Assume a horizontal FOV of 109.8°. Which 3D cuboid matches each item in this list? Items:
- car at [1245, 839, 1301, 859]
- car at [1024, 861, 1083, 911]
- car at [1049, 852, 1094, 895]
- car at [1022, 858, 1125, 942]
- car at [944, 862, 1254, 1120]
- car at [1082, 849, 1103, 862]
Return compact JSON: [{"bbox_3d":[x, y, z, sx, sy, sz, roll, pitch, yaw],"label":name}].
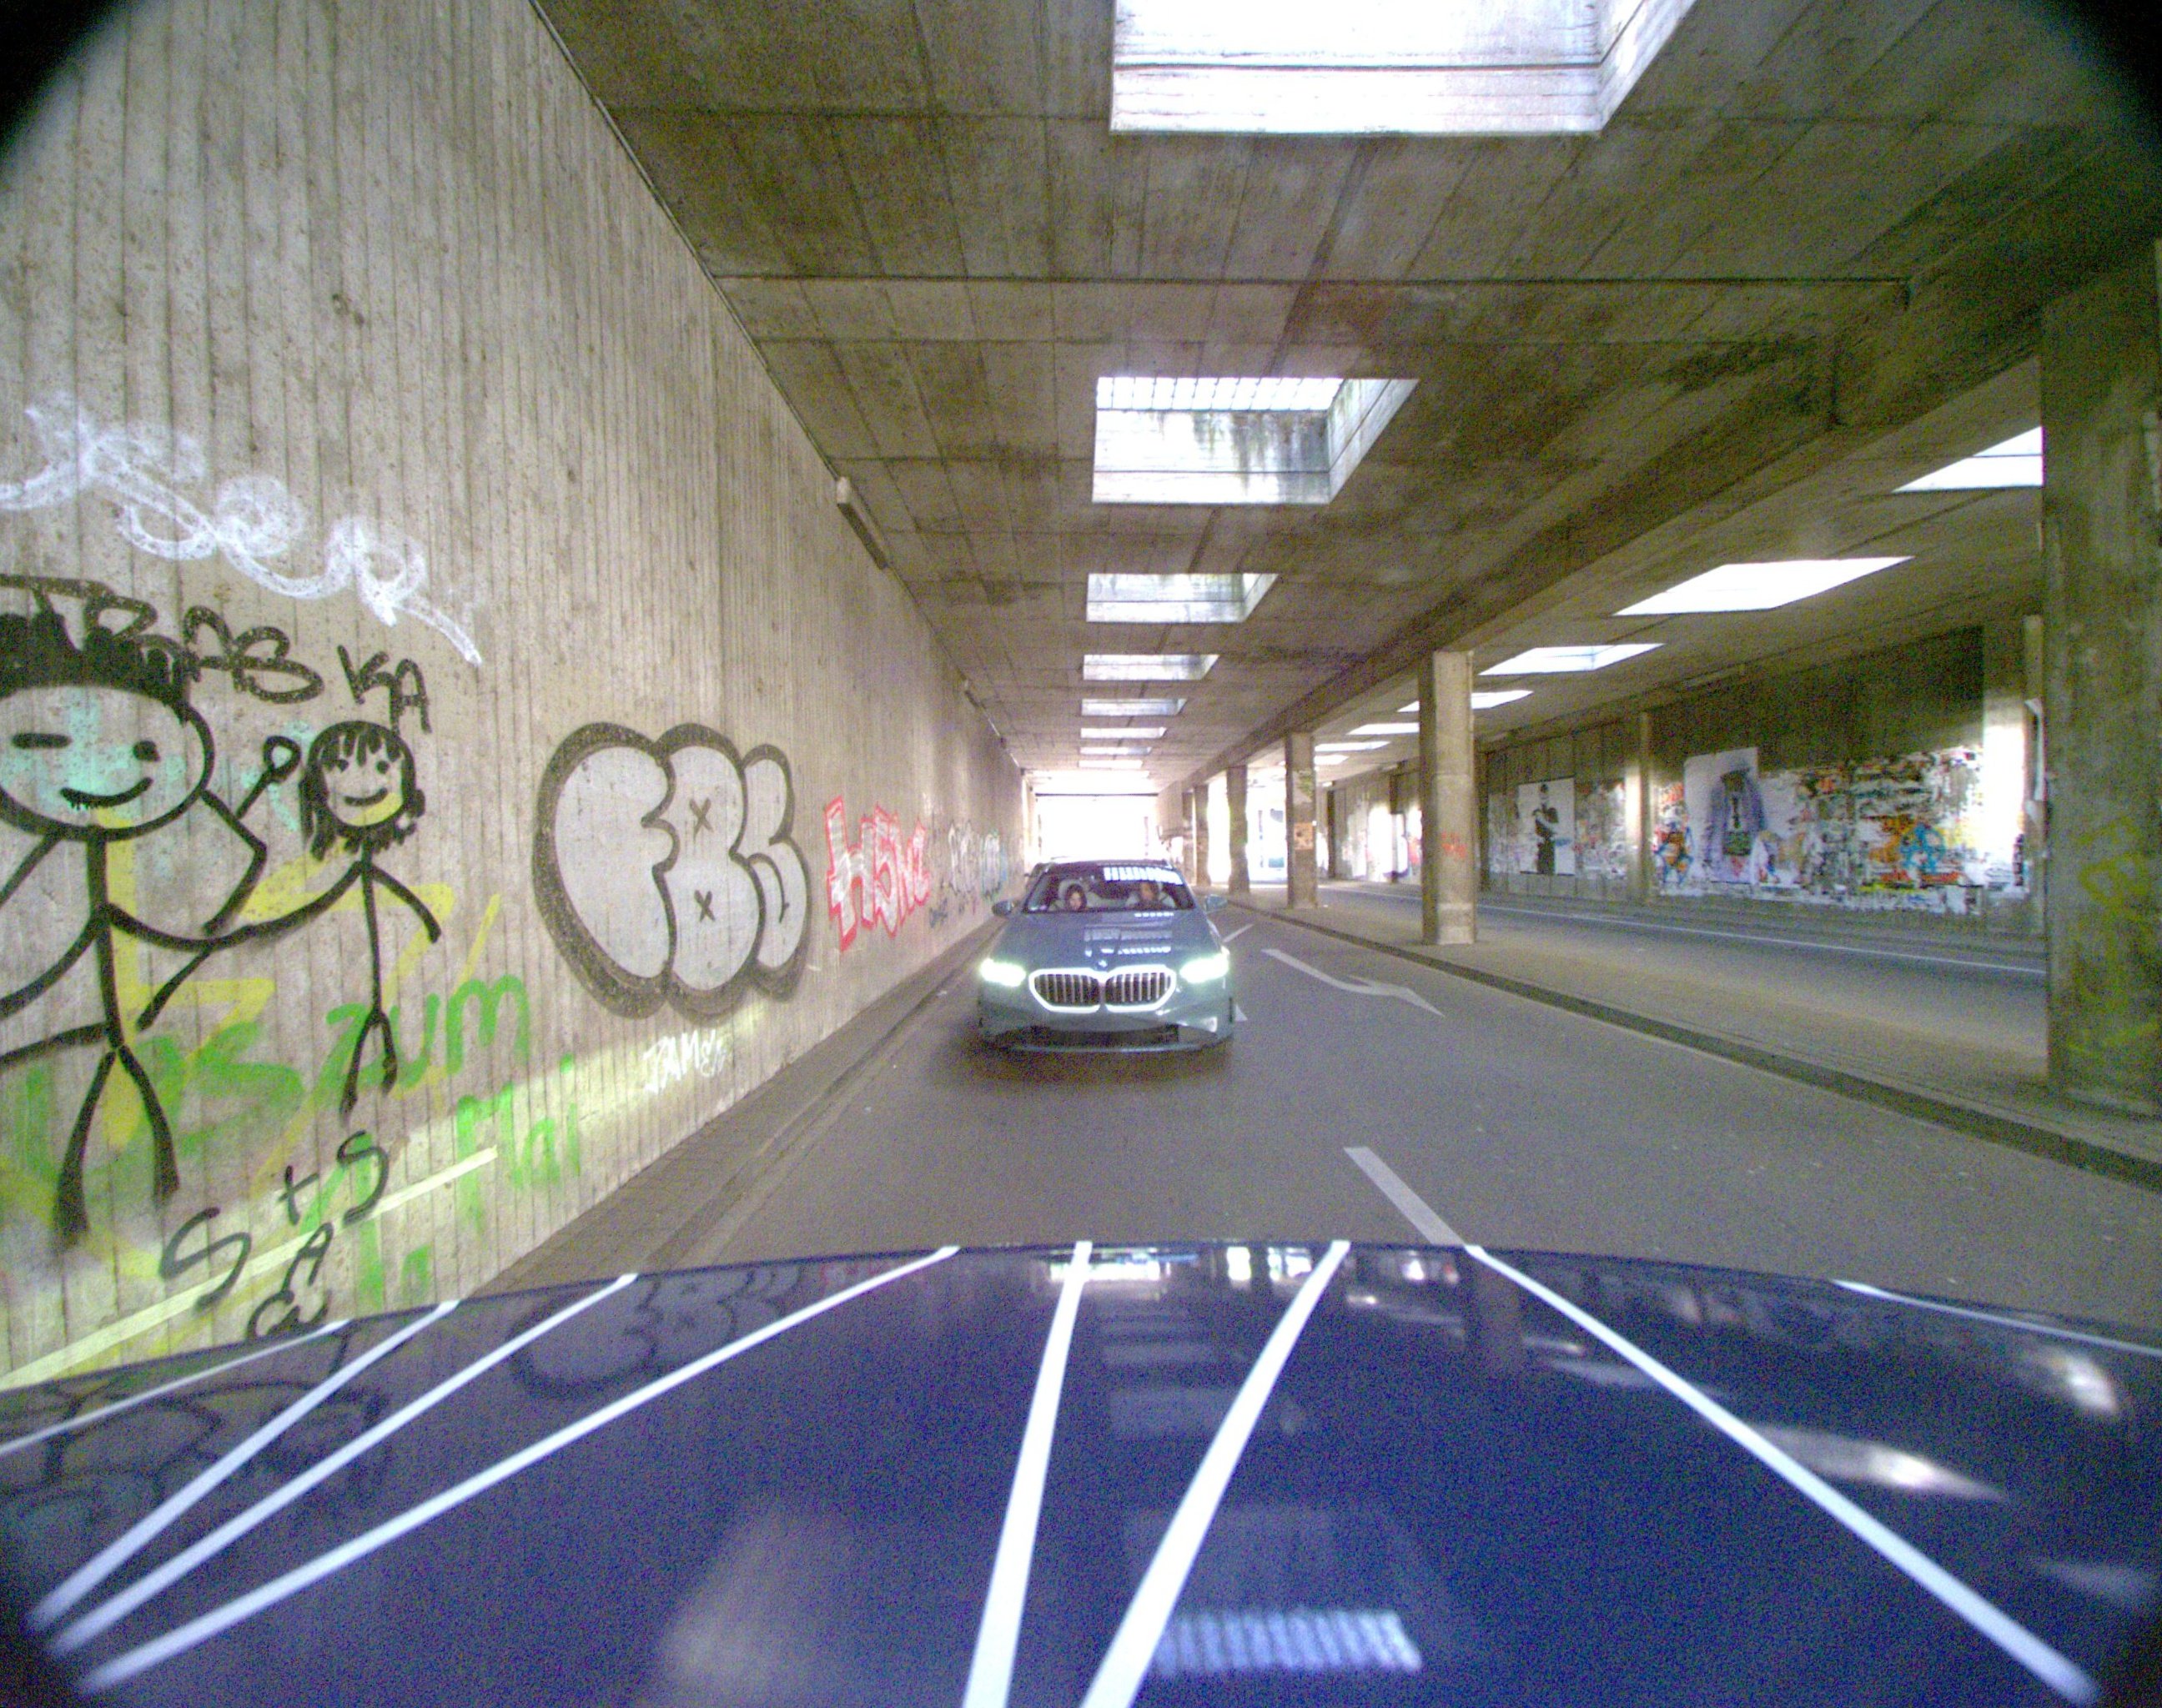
[{"bbox_3d":[18.476,-0.480,73.153,4.814,1.823,1.999,-1,0,-4],"label":"car"},{"bbox_3d":[-0.766,0.935,23.816,1.616,1.367,4.199,-1,0,1],"label":"car"},{"bbox_3d":[-0.312,0.707,29.992,1.616,1.546,4.013,-1,0,1],"label":"car"},{"bbox_3d":[-0.117,0.899,16.849,1.957,1.546,4.247,-1,0,1],"label":"car"},{"bbox_3d":[0.148,0.912,7.388,1.957,1.546,5.040,-1,0,1],"label":"car"},{"bbox_3d":[1.327,0.182,90.360,1.934,1.543,3.997,-1,0,-8],"label":"car"}]
